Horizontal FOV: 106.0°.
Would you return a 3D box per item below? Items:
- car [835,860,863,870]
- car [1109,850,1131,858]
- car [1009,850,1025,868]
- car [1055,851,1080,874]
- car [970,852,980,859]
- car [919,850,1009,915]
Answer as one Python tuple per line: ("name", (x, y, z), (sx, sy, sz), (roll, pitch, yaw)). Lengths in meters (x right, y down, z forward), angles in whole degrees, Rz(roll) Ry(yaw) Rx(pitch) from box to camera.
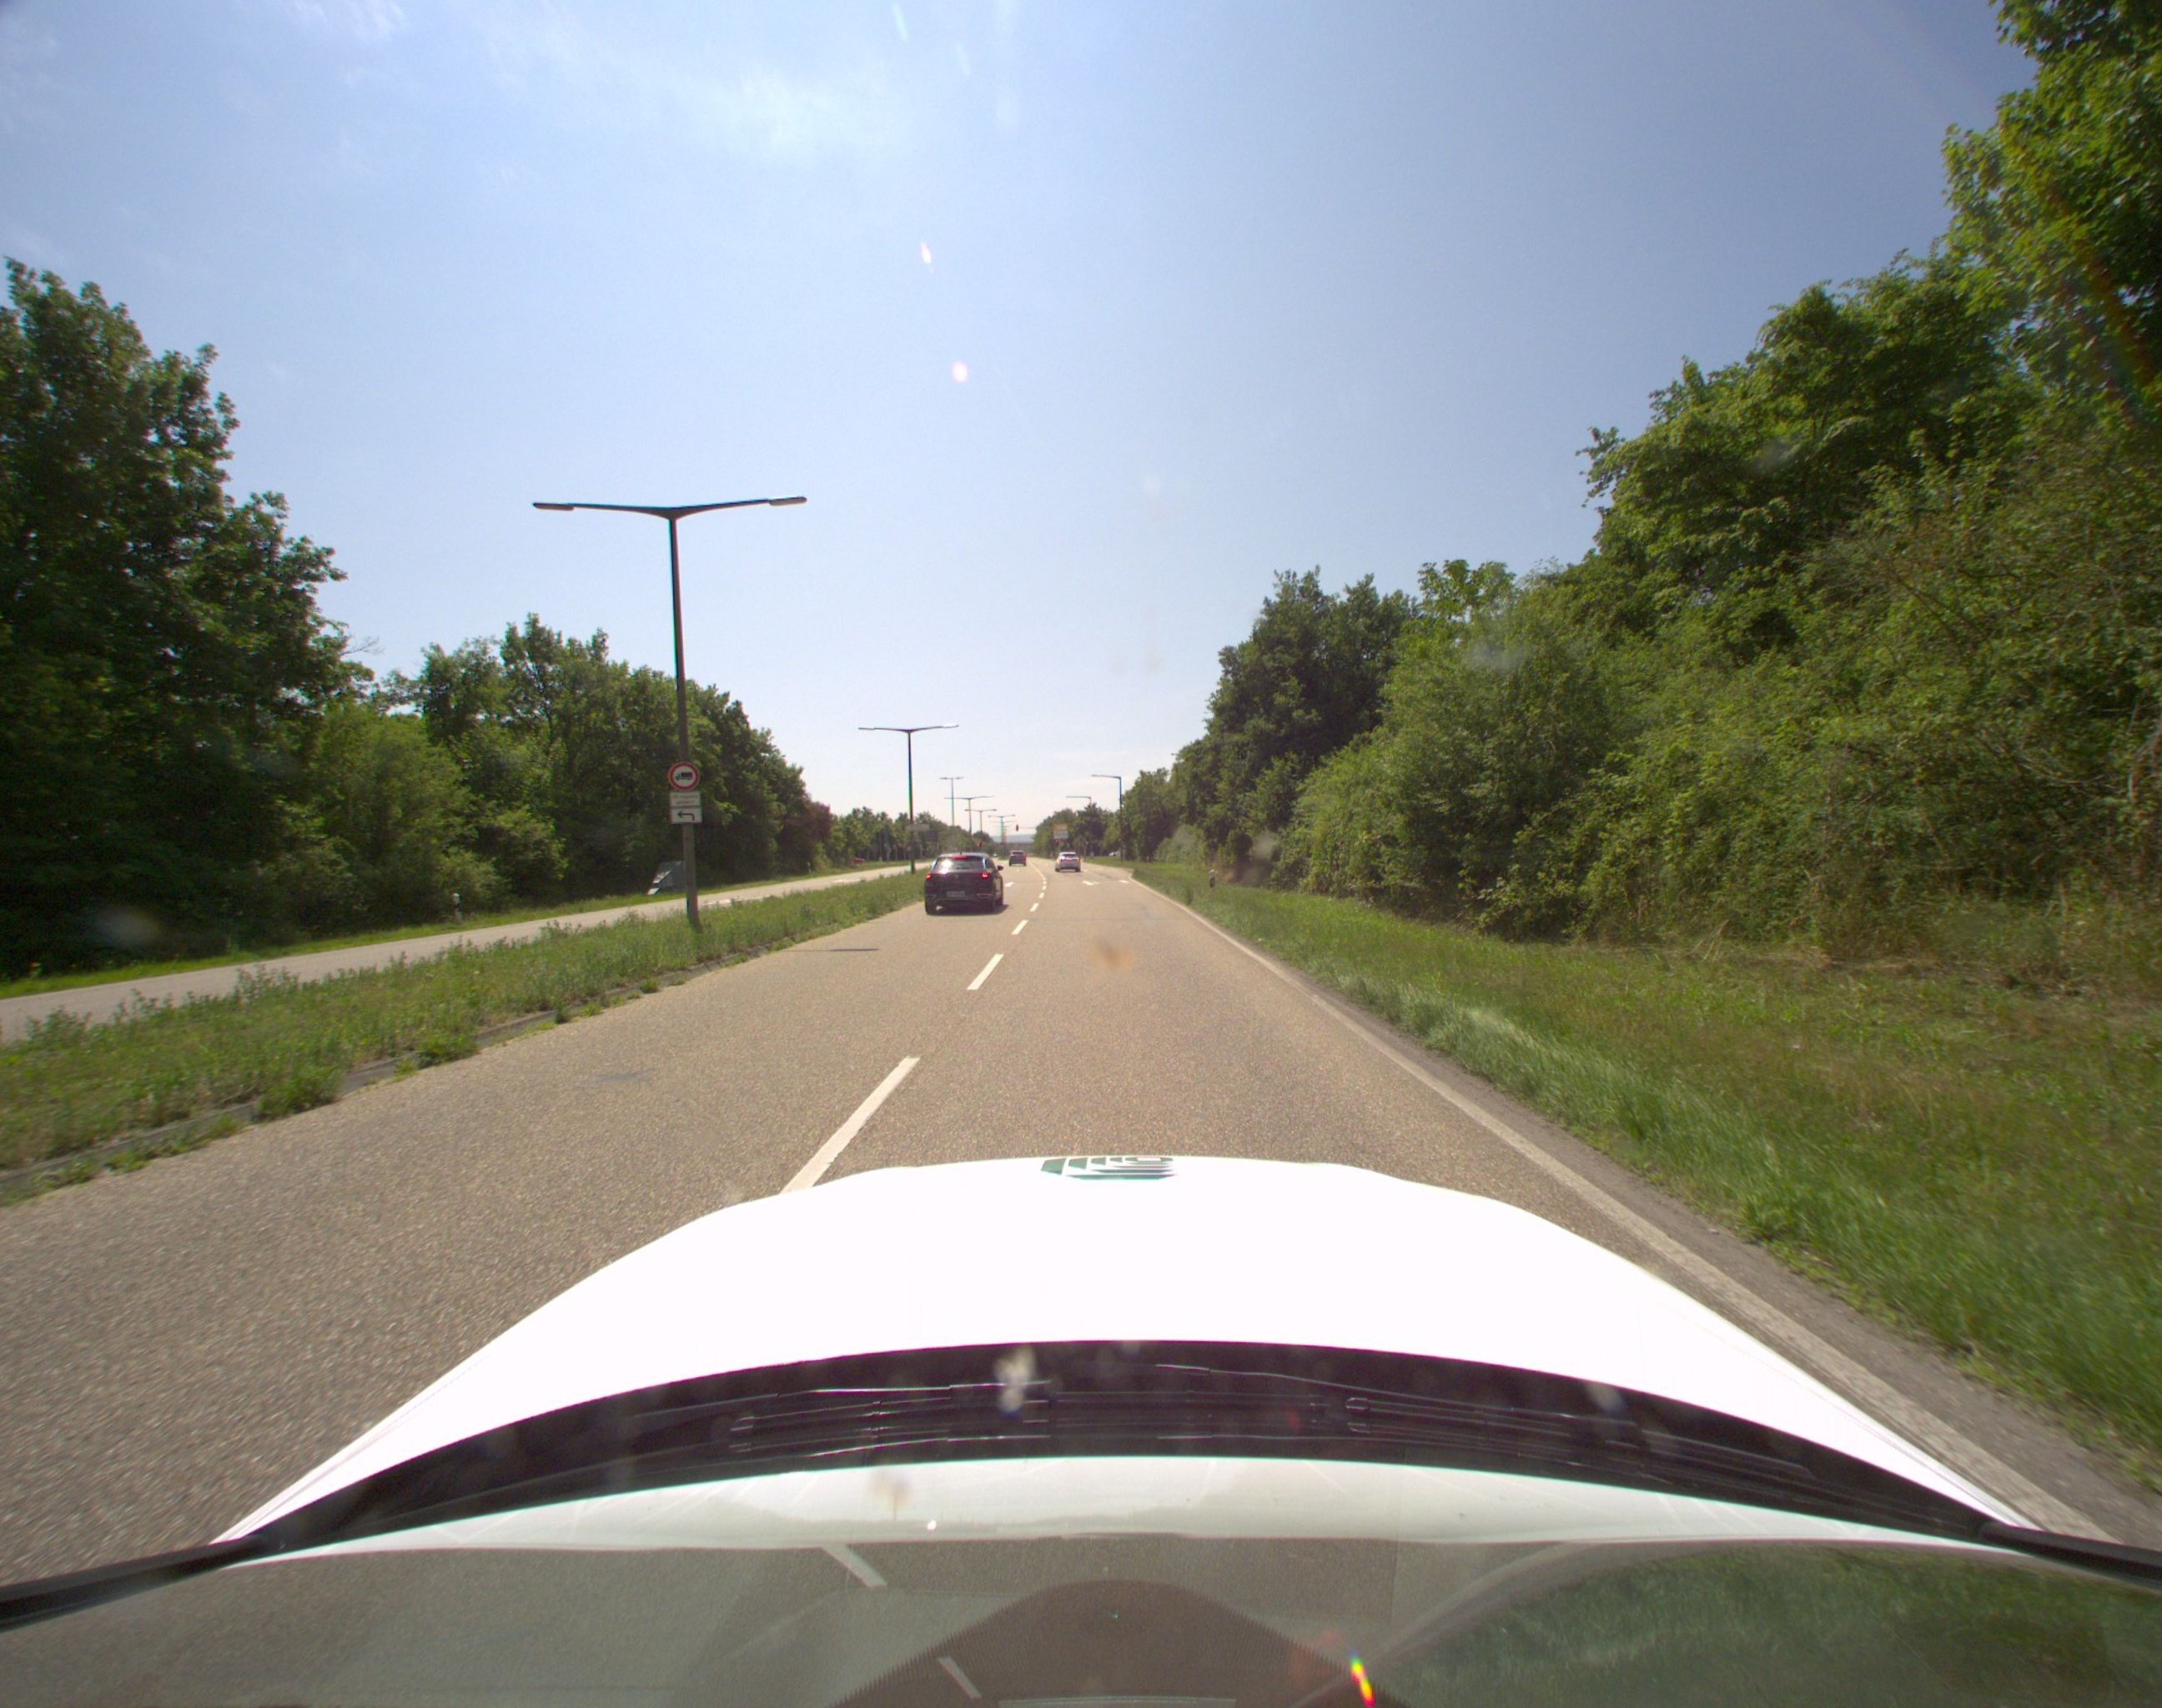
("car", (-40.322, 1.865, 141.643), (4.527, 1.641, 1.969), (-1, 0, -13))
("car", (7.992, -0.033, 165.441), (4.105, 1.525, 1.930), (-2, 0, -13))
("car", (-7.134, 0.581, 91.131), (1.752, 1.929, 3.994), (-1, 0, -4))
("car", (-0.974, 0.634, 60.791), (1.792, 1.583, 3.999), (-2, 0, -1))
("car", (-22.907, 0.326, 175.750), (1.823, 1.519, 3.997), (-1, 0, -2))
("car", (-3.078, 0.713, 22.181), (1.749, 1.556, 4.001), (-1, 0, 1))
